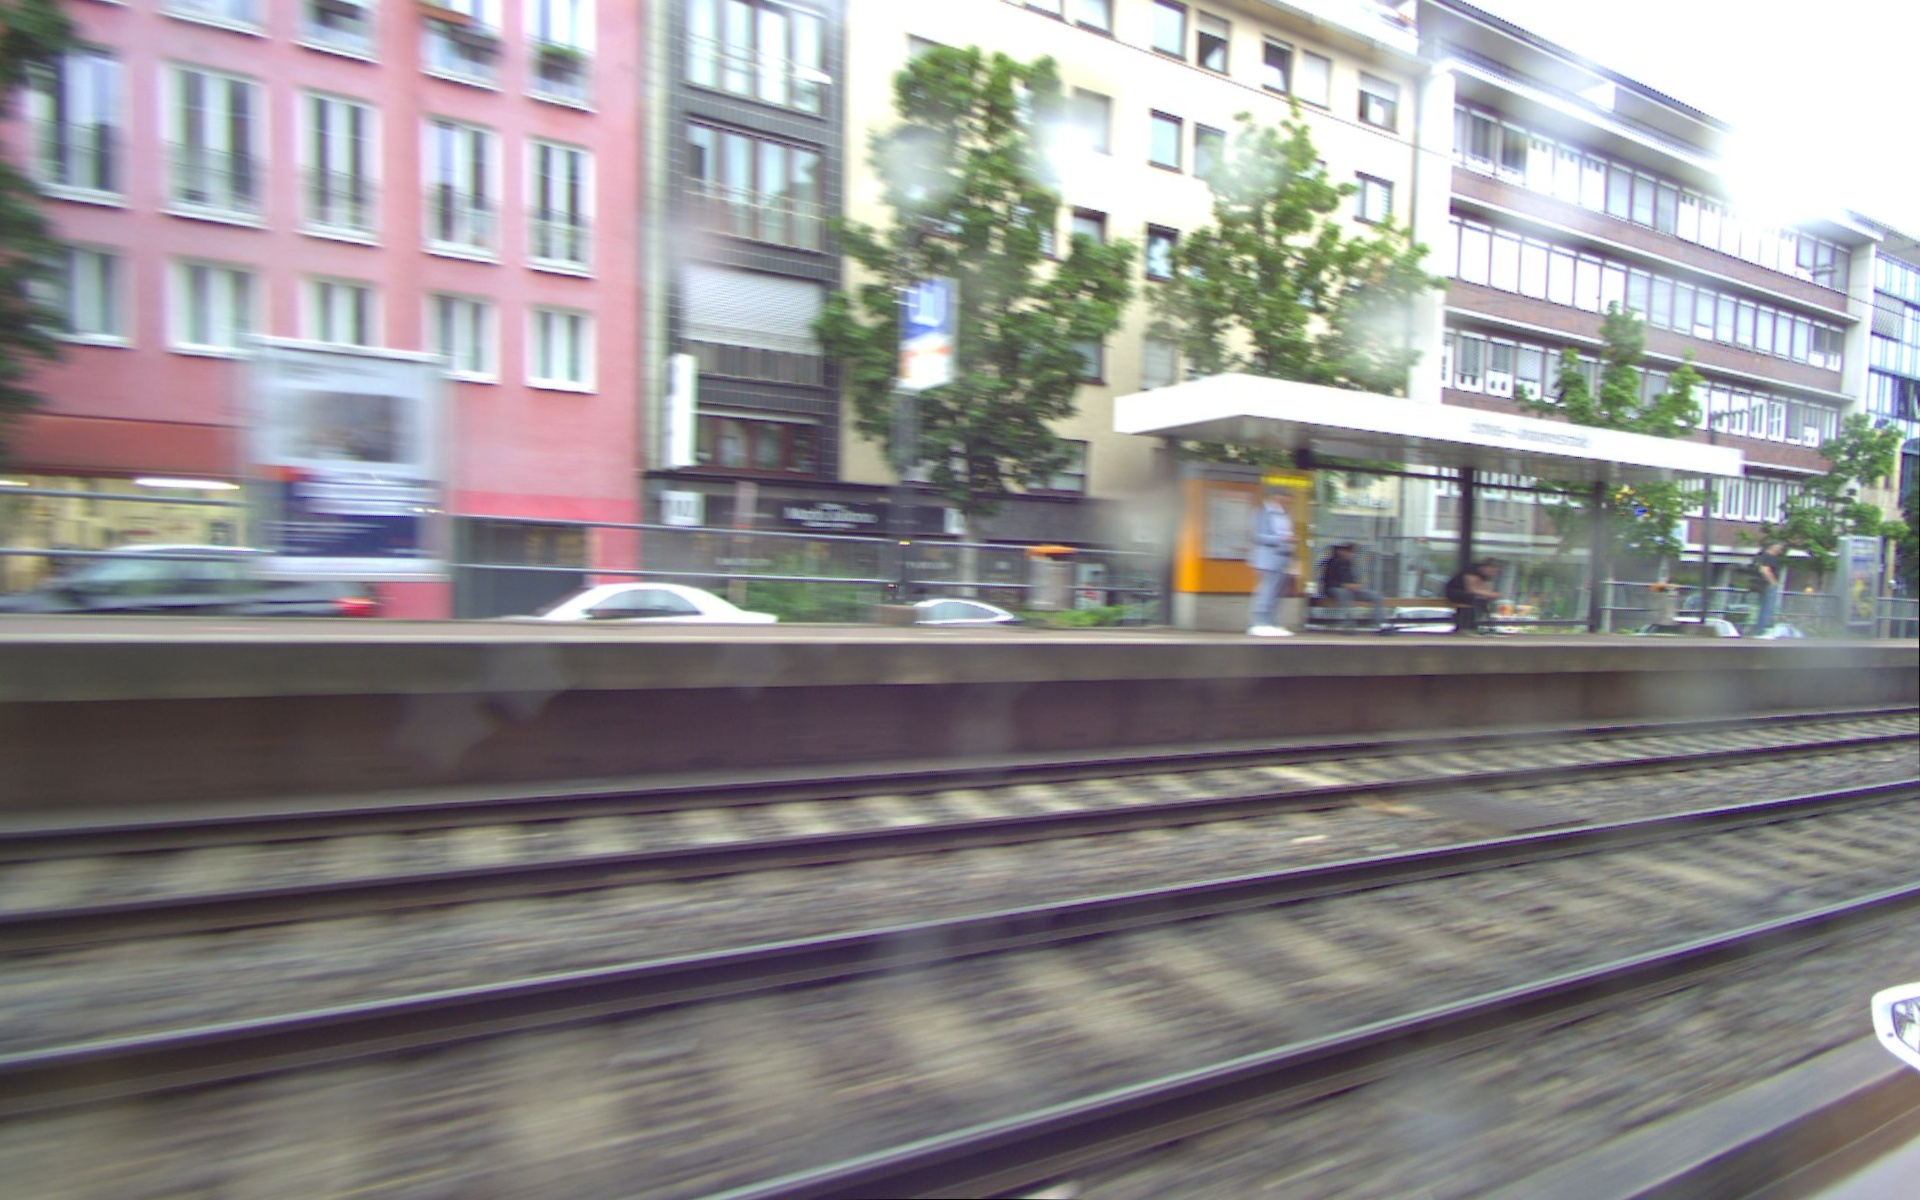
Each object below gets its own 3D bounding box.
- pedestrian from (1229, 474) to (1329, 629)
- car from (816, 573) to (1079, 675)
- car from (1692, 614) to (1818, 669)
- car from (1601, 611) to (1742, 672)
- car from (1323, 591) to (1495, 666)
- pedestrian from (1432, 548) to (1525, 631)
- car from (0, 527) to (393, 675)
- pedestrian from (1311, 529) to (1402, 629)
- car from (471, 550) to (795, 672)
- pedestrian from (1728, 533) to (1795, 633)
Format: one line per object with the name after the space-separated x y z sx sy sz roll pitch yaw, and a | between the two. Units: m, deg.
3.767 -0.551 11.866 0.840 1.734 0.652 2 1 -31 | pedestrian
-0.165 0.398 16.259 3.935 1.455 1.664 2 1 -32 | car
23.336 1.234 29.442 4.131 1.455 1.559 2 1 -32 | car
19.240 1.132 27.113 4.191 1.455 1.559 2 1 -32 | car
9.764 0.622 21.775 3.695 1.455 1.559 2 1 -32 | car
7.529 -0.156 14.595 0.843 1.138 0.885 2 1 -39 | pedestrian
-8.881 0.018 11.299 4.272 1.455 1.830 2 1 -32 | car
5.300 -0.279 13.439 0.874 1.266 0.689 2 1 -31 | pedestrian
-4.411 0.176 13.723 3.935 1.455 1.559 2 1 -32 | car
15.077 -0.318 18.890 0.840 1.826 0.652 2 1 -31 | pedestrian
